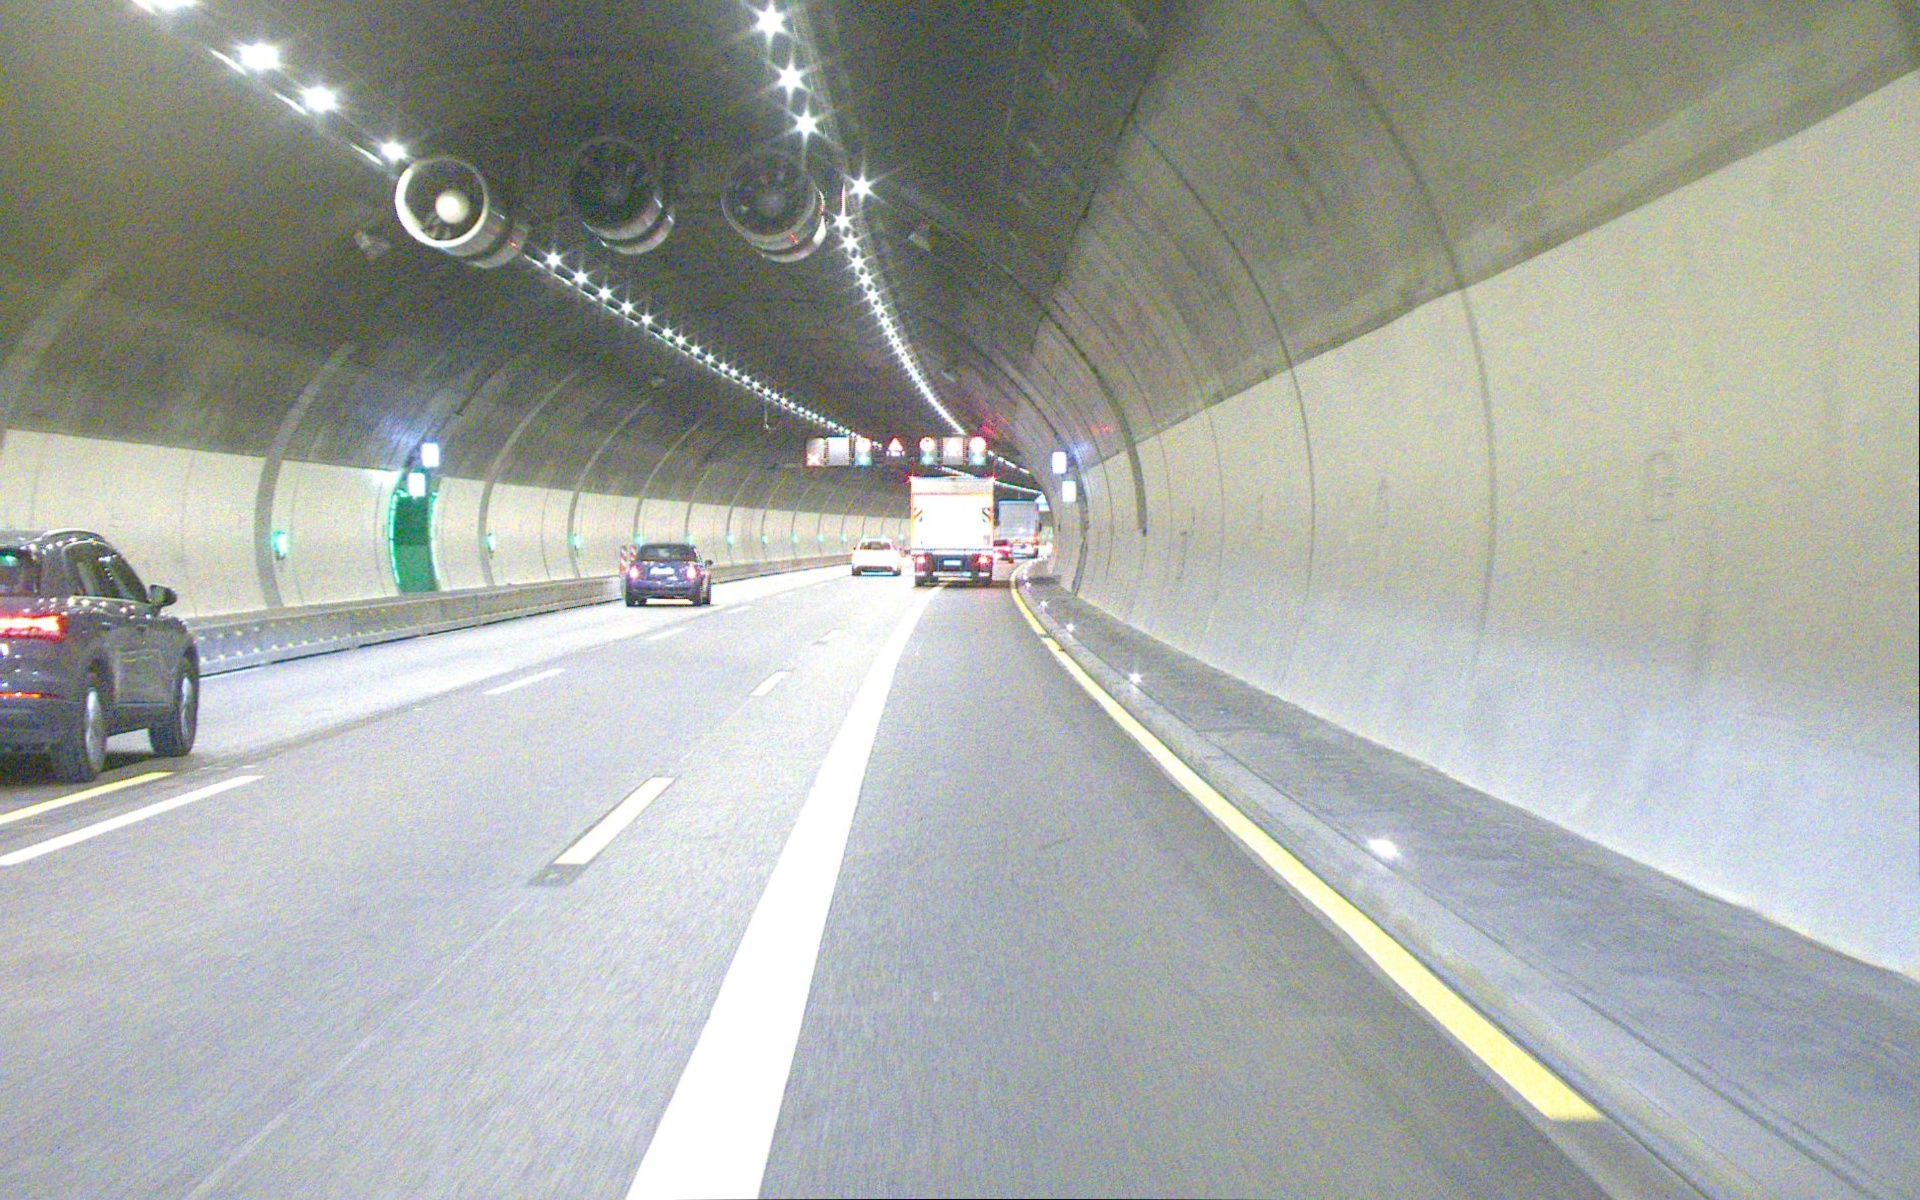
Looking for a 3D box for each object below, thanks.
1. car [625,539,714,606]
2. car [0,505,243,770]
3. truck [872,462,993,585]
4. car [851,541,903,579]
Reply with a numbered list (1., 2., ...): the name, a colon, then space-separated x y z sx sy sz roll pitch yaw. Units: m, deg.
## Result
1. car: -6.471 -0.626 76.847 1.689 1.412 3.923 2 1 -1
2. car: -6.204 0.181 22.481 1.993 1.535 4.742 2 0 0
3. truck: -0.901 -2.397 110.297 3.592 3.638 10.723 2 1 -1
4. car: -3.267 -1.568 135.436 1.993 1.408 4.743 2 1 -1
